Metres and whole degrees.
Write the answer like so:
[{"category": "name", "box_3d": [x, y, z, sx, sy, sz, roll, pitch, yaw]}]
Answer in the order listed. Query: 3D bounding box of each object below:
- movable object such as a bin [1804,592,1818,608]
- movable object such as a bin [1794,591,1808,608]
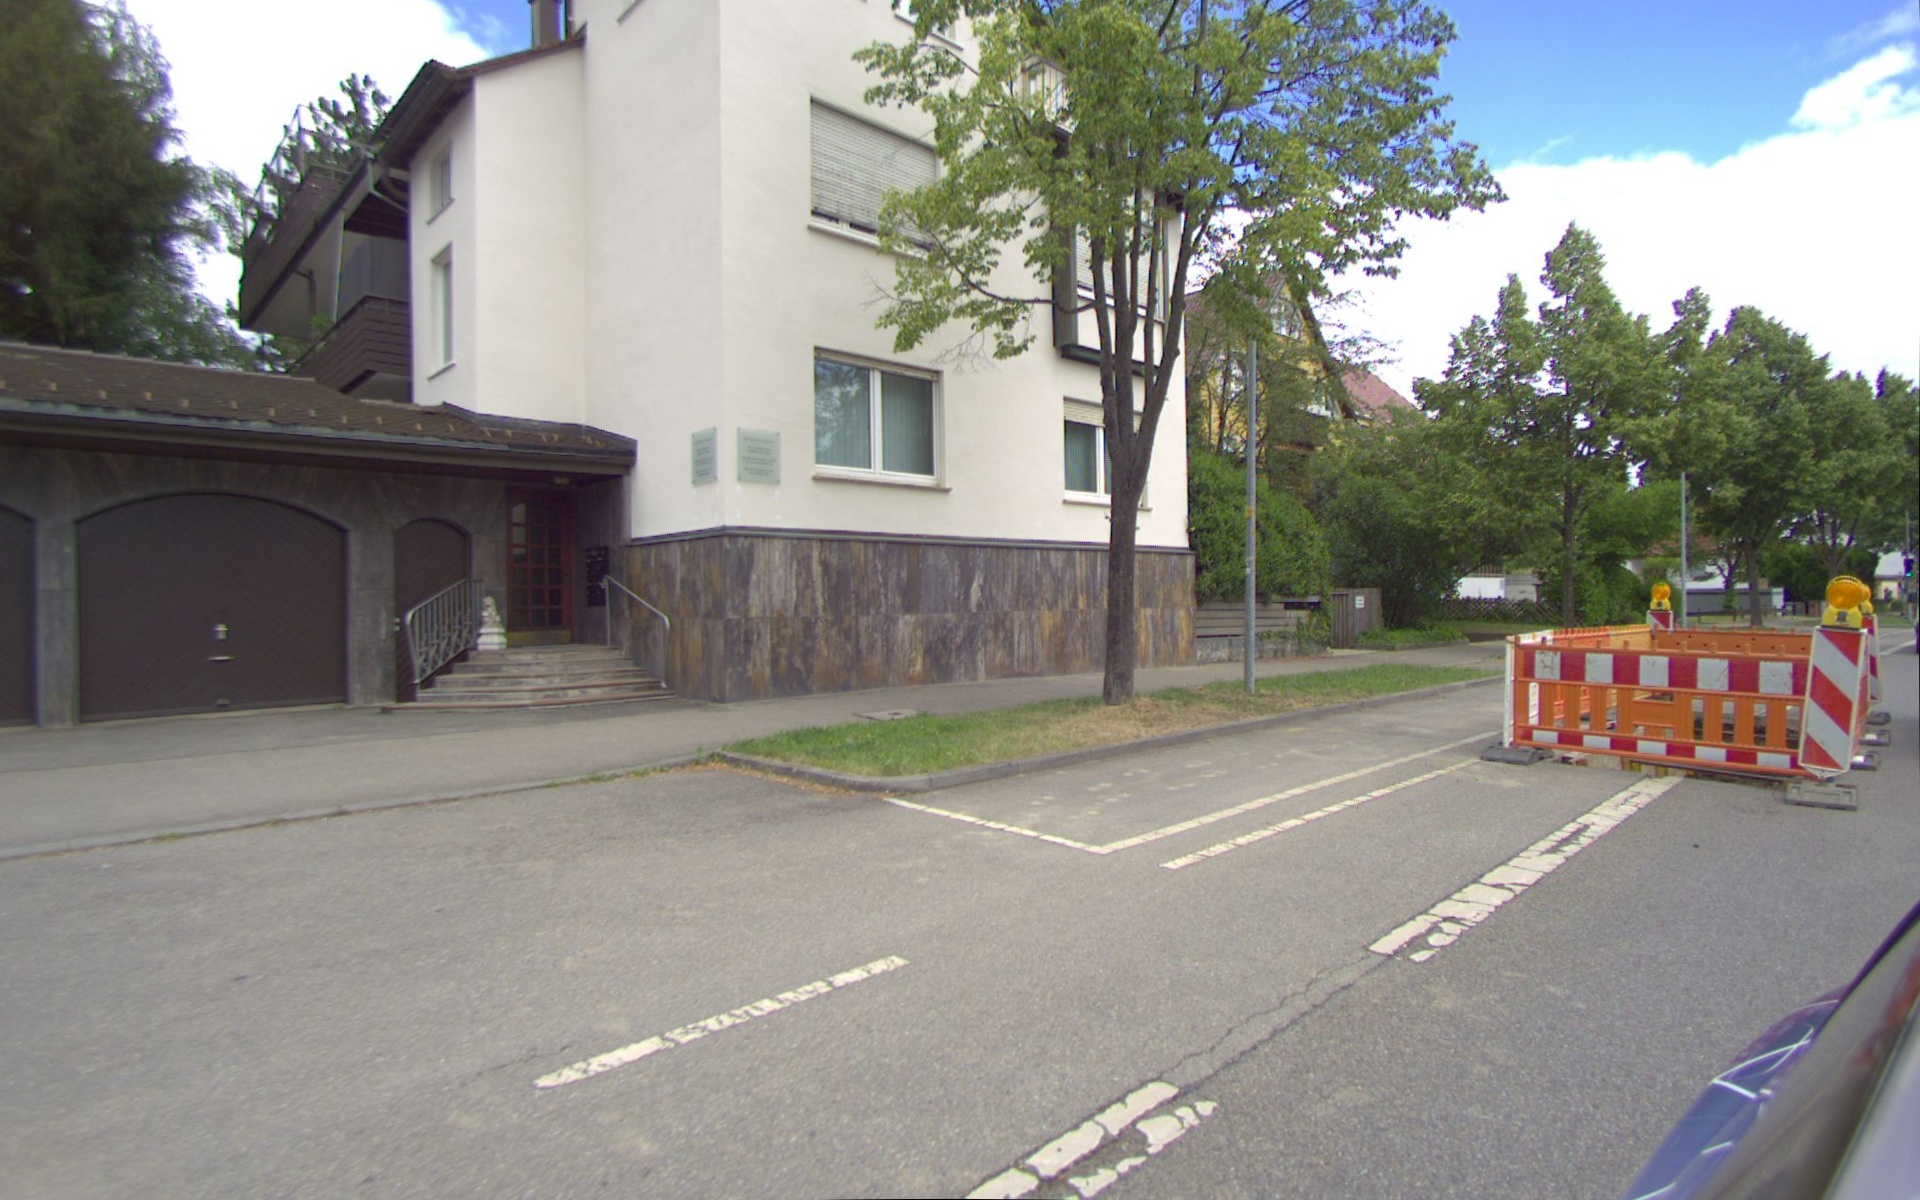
[{"category": "movable object such as a bin", "box_3d": [55.042, -0.001, 65.443, 0.508, 1.058, 0.501, 0, 0, -27]}, {"category": "movable object such as a bin", "box_3d": [54.811, -0.017, 65.930, 0.508, 1.072, 0.542, 0, 0, -26]}]
